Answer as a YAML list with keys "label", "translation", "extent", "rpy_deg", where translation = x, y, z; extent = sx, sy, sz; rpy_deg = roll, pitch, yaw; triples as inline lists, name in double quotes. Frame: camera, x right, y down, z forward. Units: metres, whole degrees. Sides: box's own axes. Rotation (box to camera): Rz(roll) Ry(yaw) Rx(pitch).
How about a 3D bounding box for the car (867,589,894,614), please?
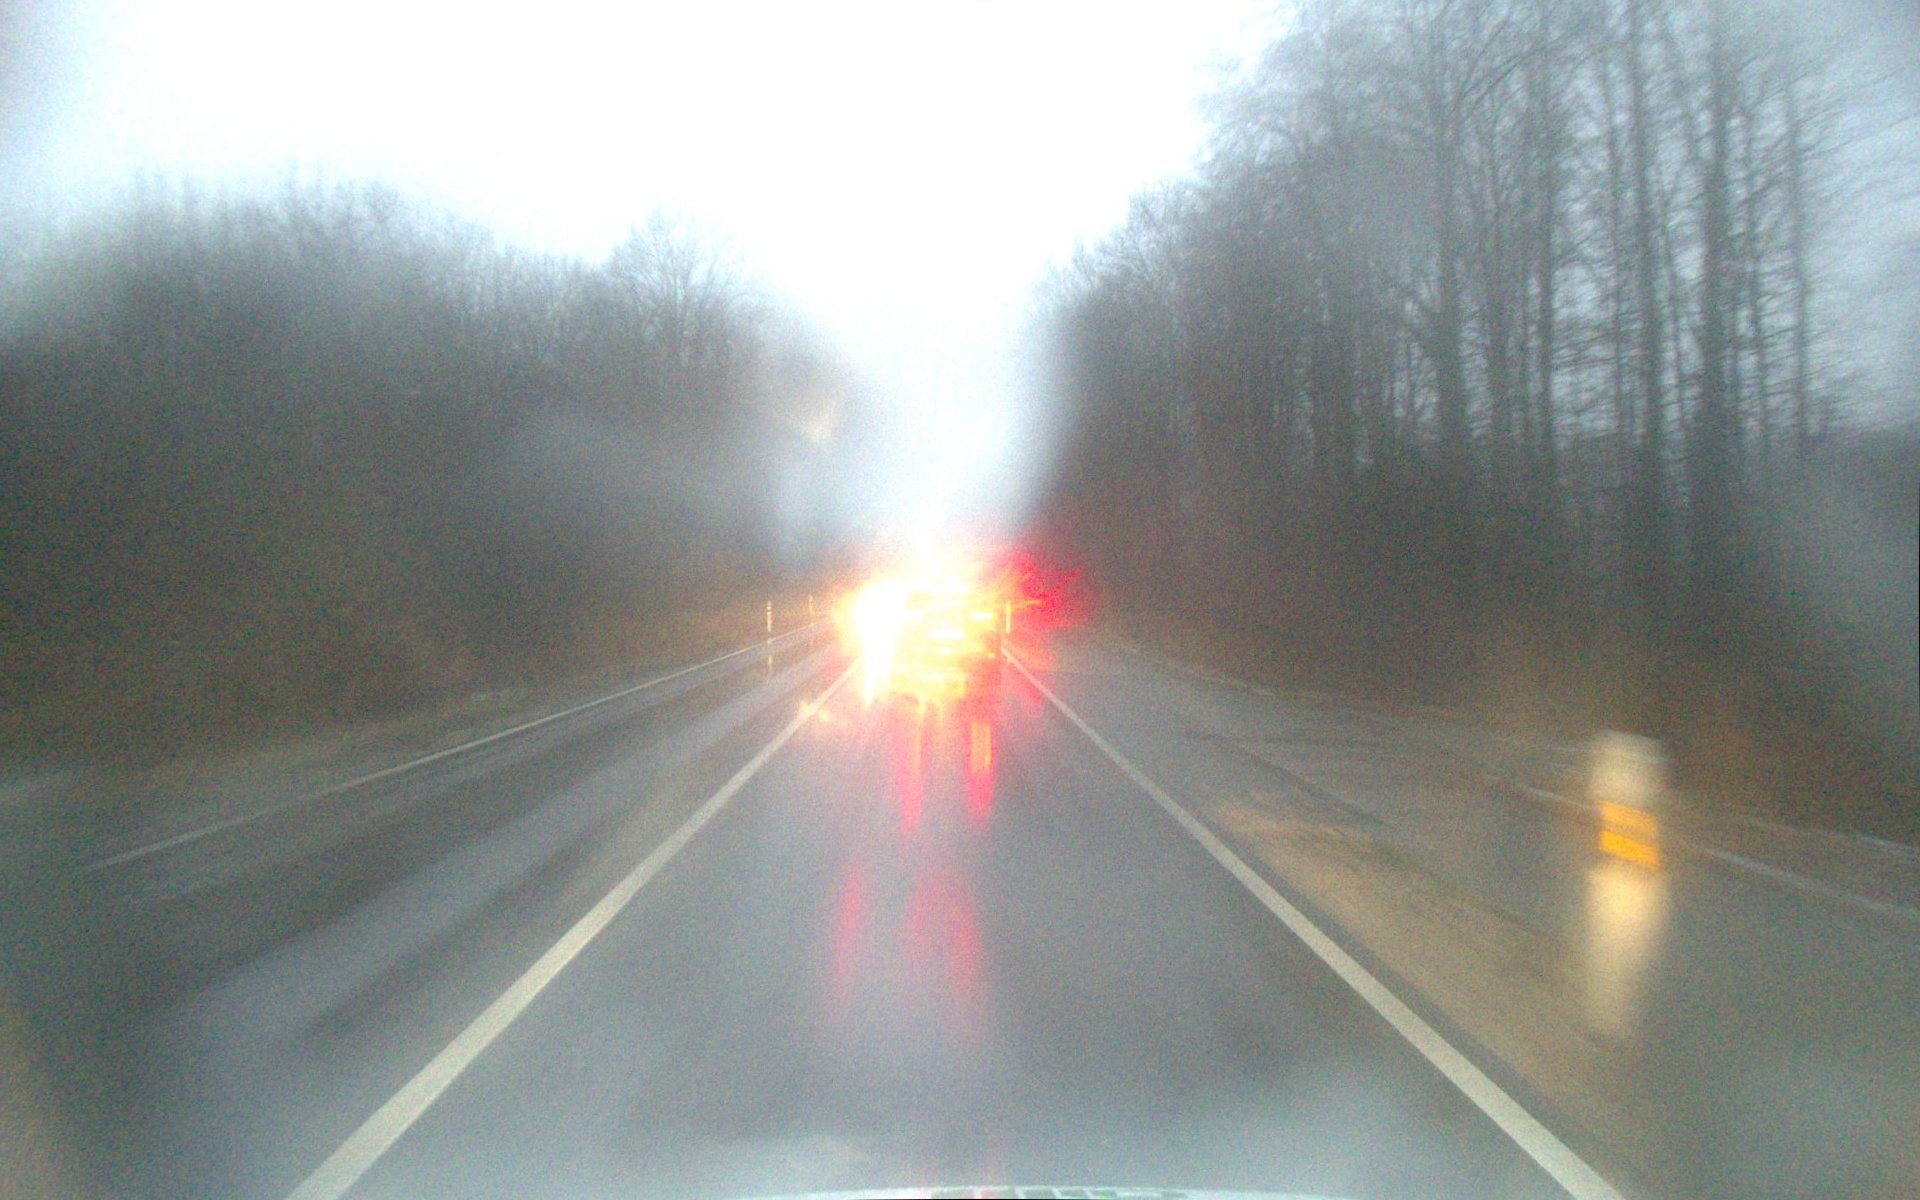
- label: "car"
  translation: [-5.109, 0.077, 106.784]
  extent: [1.566, 1.522, 3.894]
  rpy_deg: [-2, 1, 0]

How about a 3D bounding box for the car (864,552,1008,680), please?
- label: "car"
  translation: [-0.417, 0.212, 27.571]
  extent: [2.153, 1.910, 4.826]
  rpy_deg: [1, 1, -1]
